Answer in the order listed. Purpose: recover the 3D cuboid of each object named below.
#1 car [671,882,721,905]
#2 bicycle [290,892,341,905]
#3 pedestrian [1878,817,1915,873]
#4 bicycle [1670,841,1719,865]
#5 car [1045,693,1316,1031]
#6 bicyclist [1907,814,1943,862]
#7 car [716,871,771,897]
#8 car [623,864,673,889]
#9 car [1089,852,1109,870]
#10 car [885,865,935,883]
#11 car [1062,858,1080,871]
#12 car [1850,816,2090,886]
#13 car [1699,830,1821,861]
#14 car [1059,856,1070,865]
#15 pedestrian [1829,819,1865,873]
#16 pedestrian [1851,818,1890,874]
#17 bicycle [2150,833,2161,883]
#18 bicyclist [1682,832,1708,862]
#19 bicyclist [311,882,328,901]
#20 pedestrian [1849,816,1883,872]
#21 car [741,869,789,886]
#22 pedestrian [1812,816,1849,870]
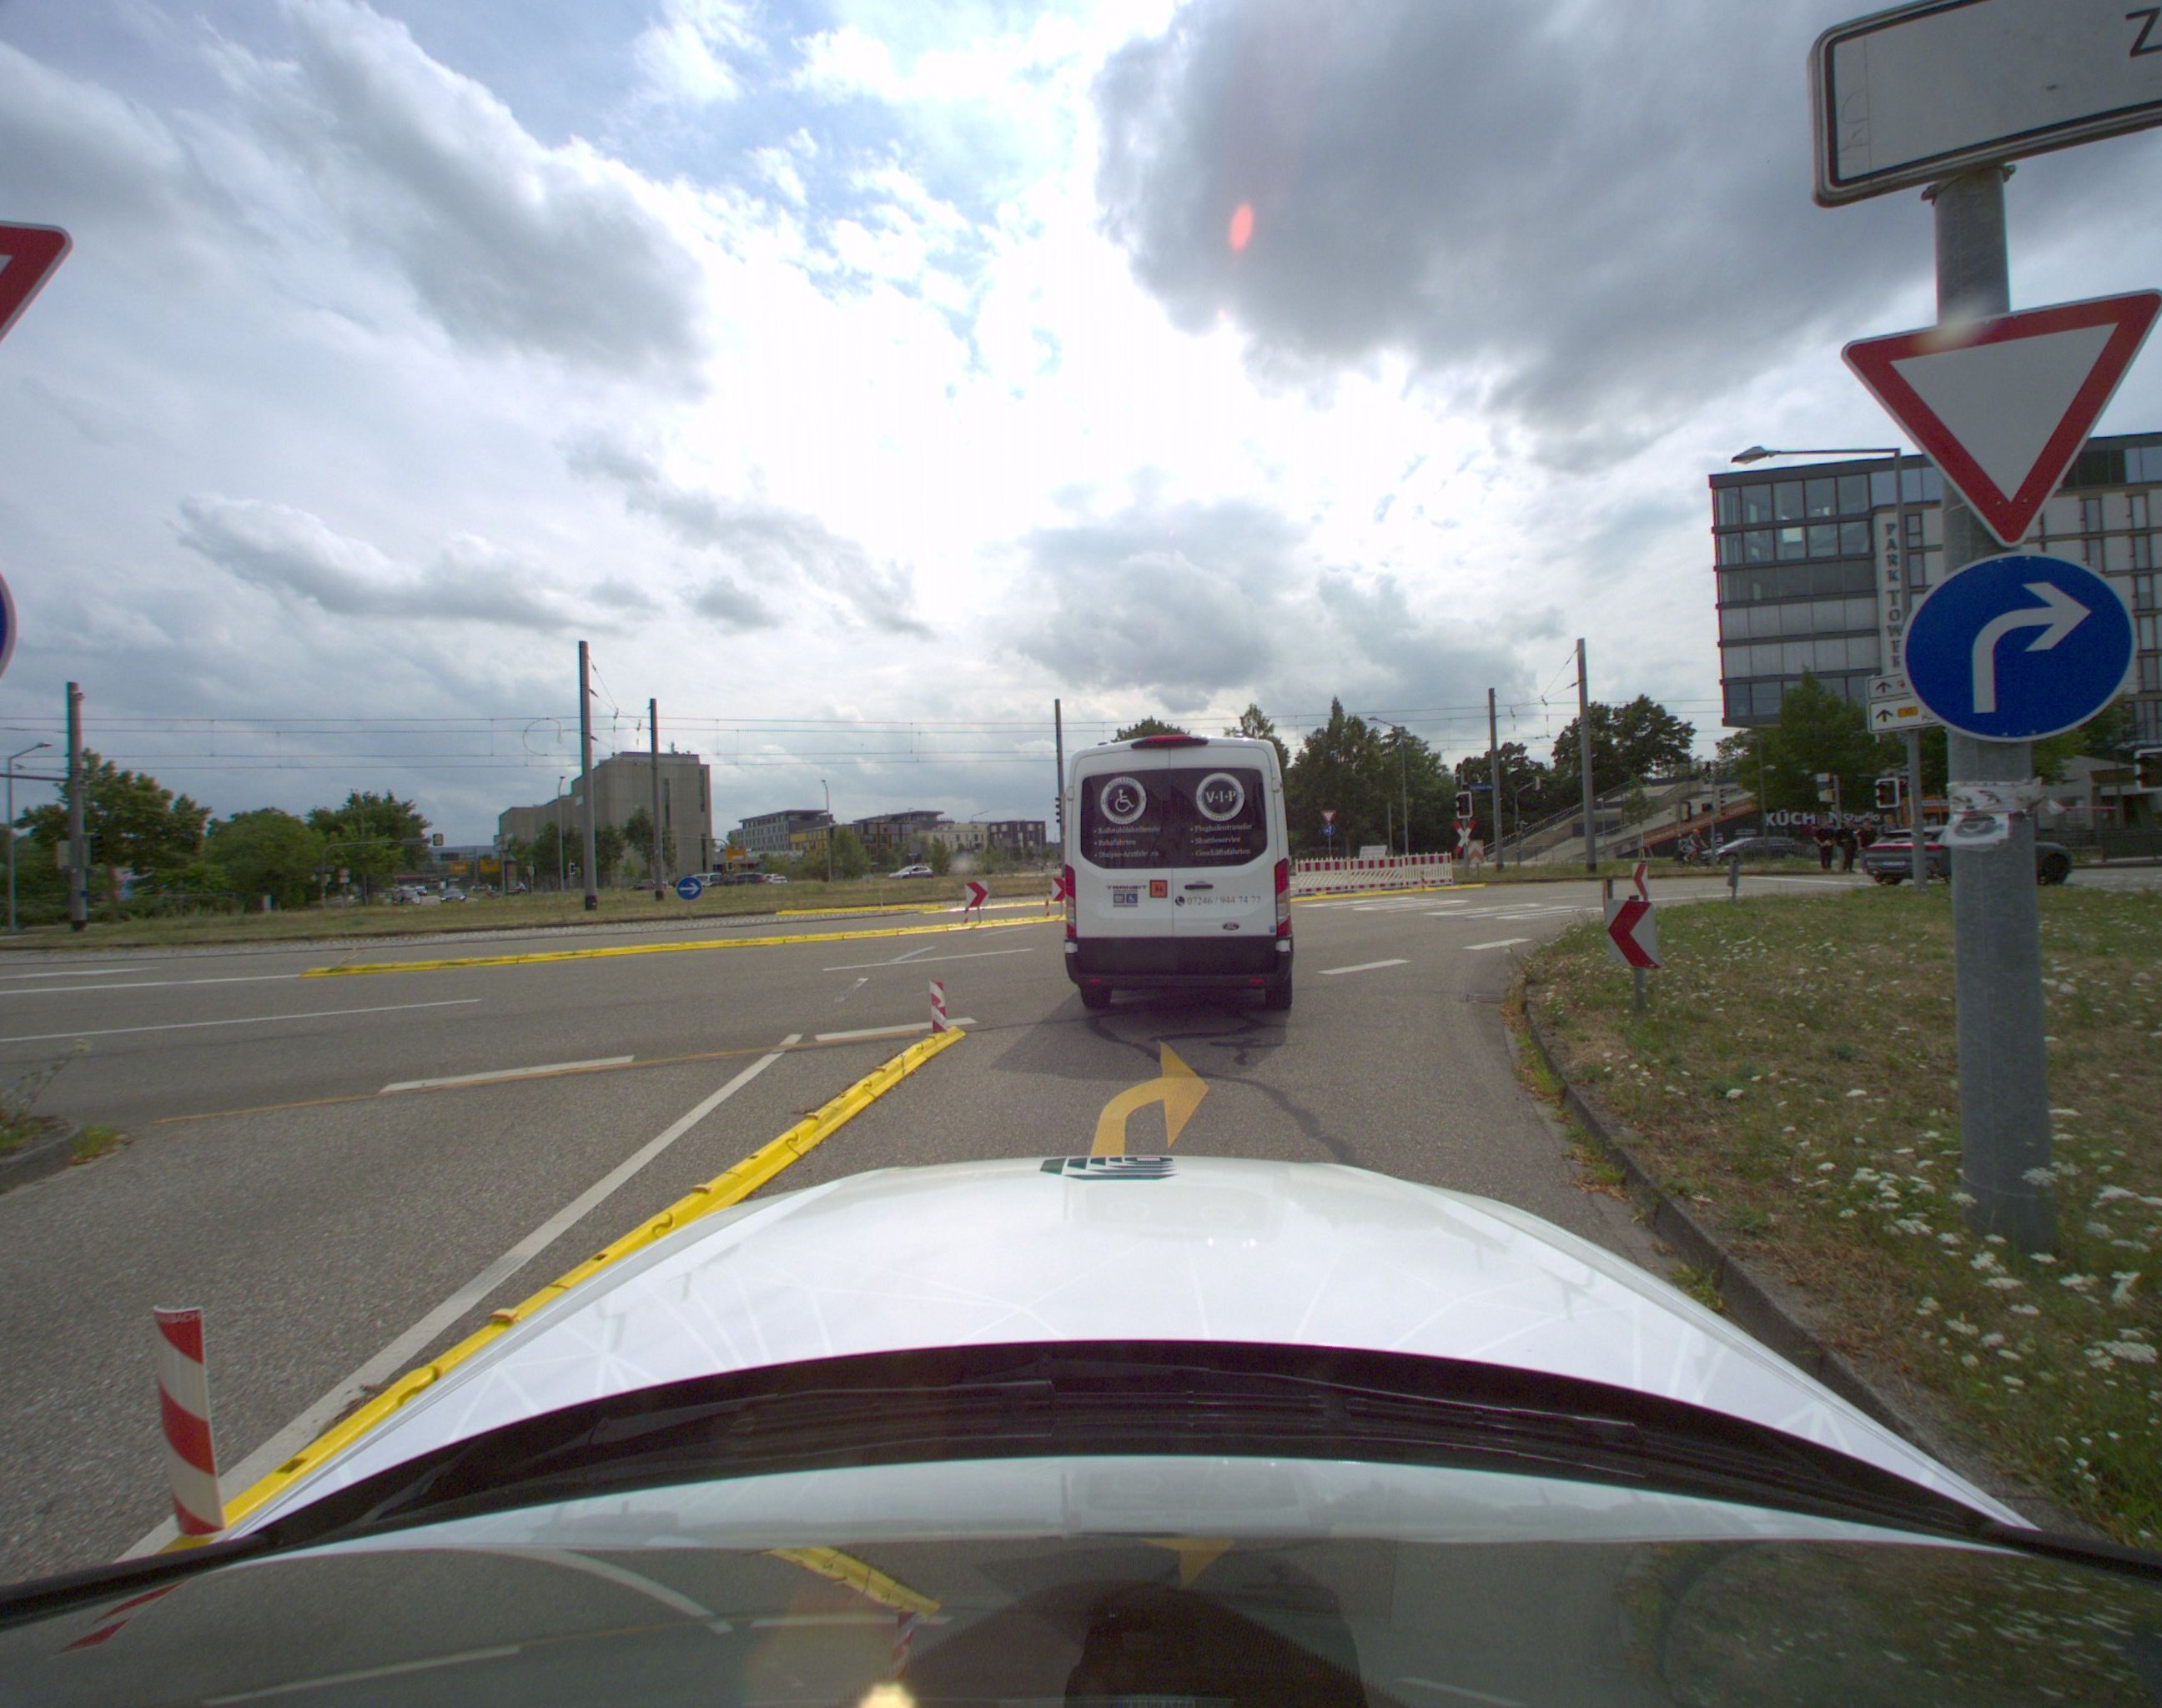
[{"bbox_3d":[-34.680,3.554,73.391,4.305,2.014,2.012,-2,-2,32],"label":"car"},{"bbox_3d":[-57.764,3.345,61.493,0.853,0.855,2.676,-3,0,31],"label":"bicycle"},{"bbox_3d":[26.608,-0.296,26.572,0.576,1.781,0.553,-2,0,2],"label":"pedestrian"},{"bbox_3d":[27.372,-0.050,36.364,0.652,1.007,1.751,-2,0,-9],"label":"bicycle"},{"bbox_3d":[1.315,0.111,9.462,2.113,2.697,5.648,-2,-1,11],"label":"car"},{"bbox_3d":[28.326,-0.543,27.344,0.553,1.580,0.770,-2,0,26],"label":"bicyclist"},{"bbox_3d":[-27.681,2.483,66.901,3.997,2.014,1.988,-1,-2,-17],"label":"car"},{"bbox_3d":[-36.918,1.901,69.415,3.948,2.014,2.012,-2,-2,32],"label":"car"},{"bbox_3d":[2.172,0.892,100.121,1.991,2.014,3.991,-1,-2,-6],"label":"car"},{"bbox_3d":[-15.283,1.773,72.780,4.022,1.463,1.811,-1,-2,-42],"label":"car"},{"bbox_3d":[-1.435,1.491,114.730,1.983,1.849,4.007,-2,-2,7],"label":"car"},{"bbox_3d":[22.853,-0.085,21.029,4.459,1.551,2.058,-2,0,-9],"label":"car"},{"bbox_3d":[35.877,-0.435,43.149,4.695,1.458,1.853,-2,0,9],"label":"car"},{"bbox_3d":[-3.461,1.320,168.812,1.985,1.849,4.002,-1,-2,3],"label":"car"},{"bbox_3d":[25.726,-0.277,27.341,0.629,1.781,0.553,-2,0,2],"label":"pedestrian"},{"bbox_3d":[25.886,-0.258,26.715,0.685,1.781,0.553,-2,0,2],"label":"pedestrian"},{"bbox_3d":[25.372,0.083,18.457,0.781,1.168,2.054,-3,-1,36],"label":"bicycle"},{"bbox_3d":[27.376,-0.293,36.315,0.638,1.317,0.673,-2,0,-10],"label":"bicyclist"},{"bbox_3d":[-57.655,2.813,61.670,0.853,1.409,0.678,-3,-1,31],"label":"bicyclist"},{"bbox_3d":[26.345,-0.337,27.332,0.527,1.862,0.553,-2,0,2],"label":"pedestrian"},{"bbox_3d":[-29.433,2.169,75.878,3.954,1.464,1.842,-2,-2,18],"label":"car"},{"bbox_3d":[25.042,-0.356,27.225,0.685,1.781,0.553,-2,0,2],"label":"pedestrian"}]
